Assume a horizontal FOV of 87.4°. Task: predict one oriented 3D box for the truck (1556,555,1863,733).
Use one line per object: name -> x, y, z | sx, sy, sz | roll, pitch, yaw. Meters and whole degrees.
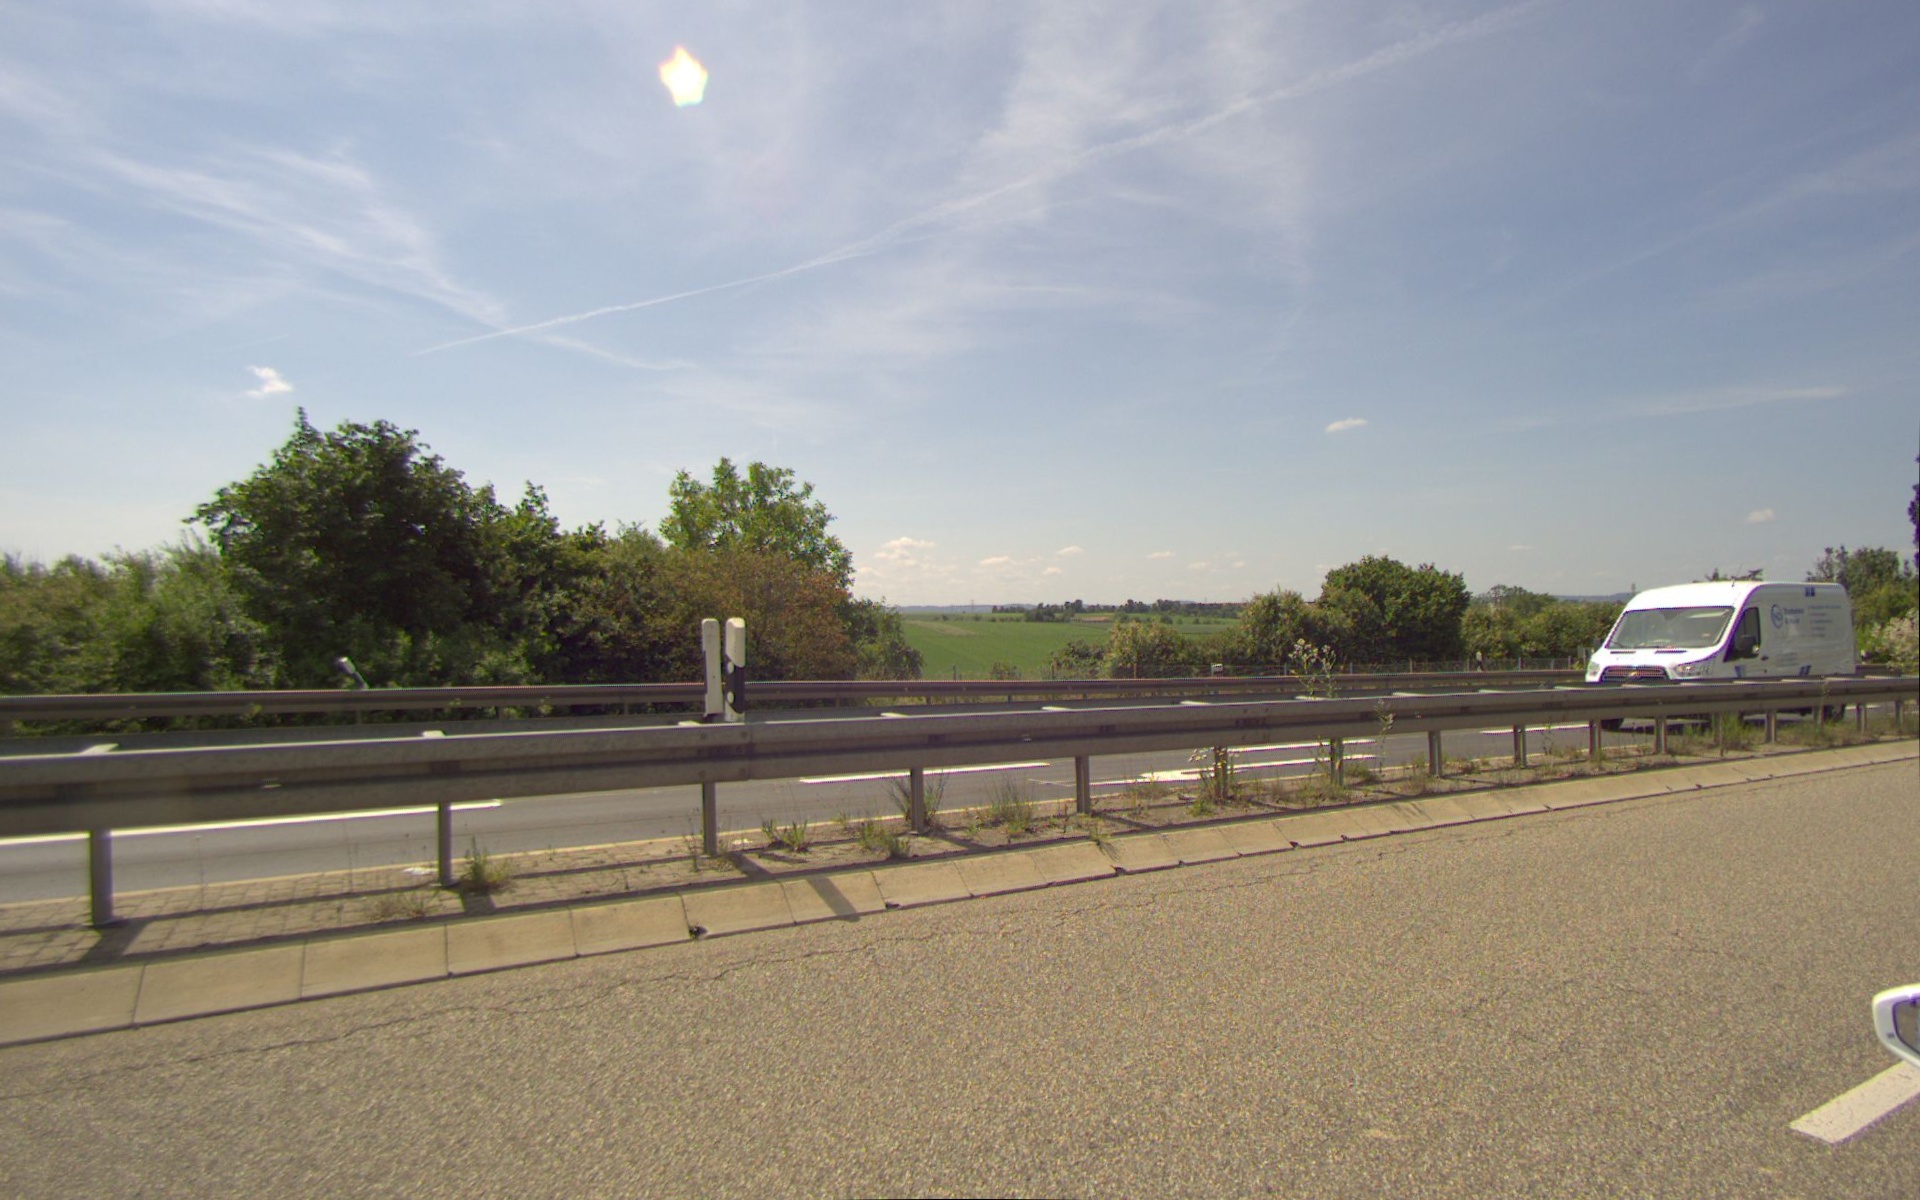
truck -> 13.043, 0.768, 17.368 | 5.949, 2.655, 2.031 | 1, -4, -30
